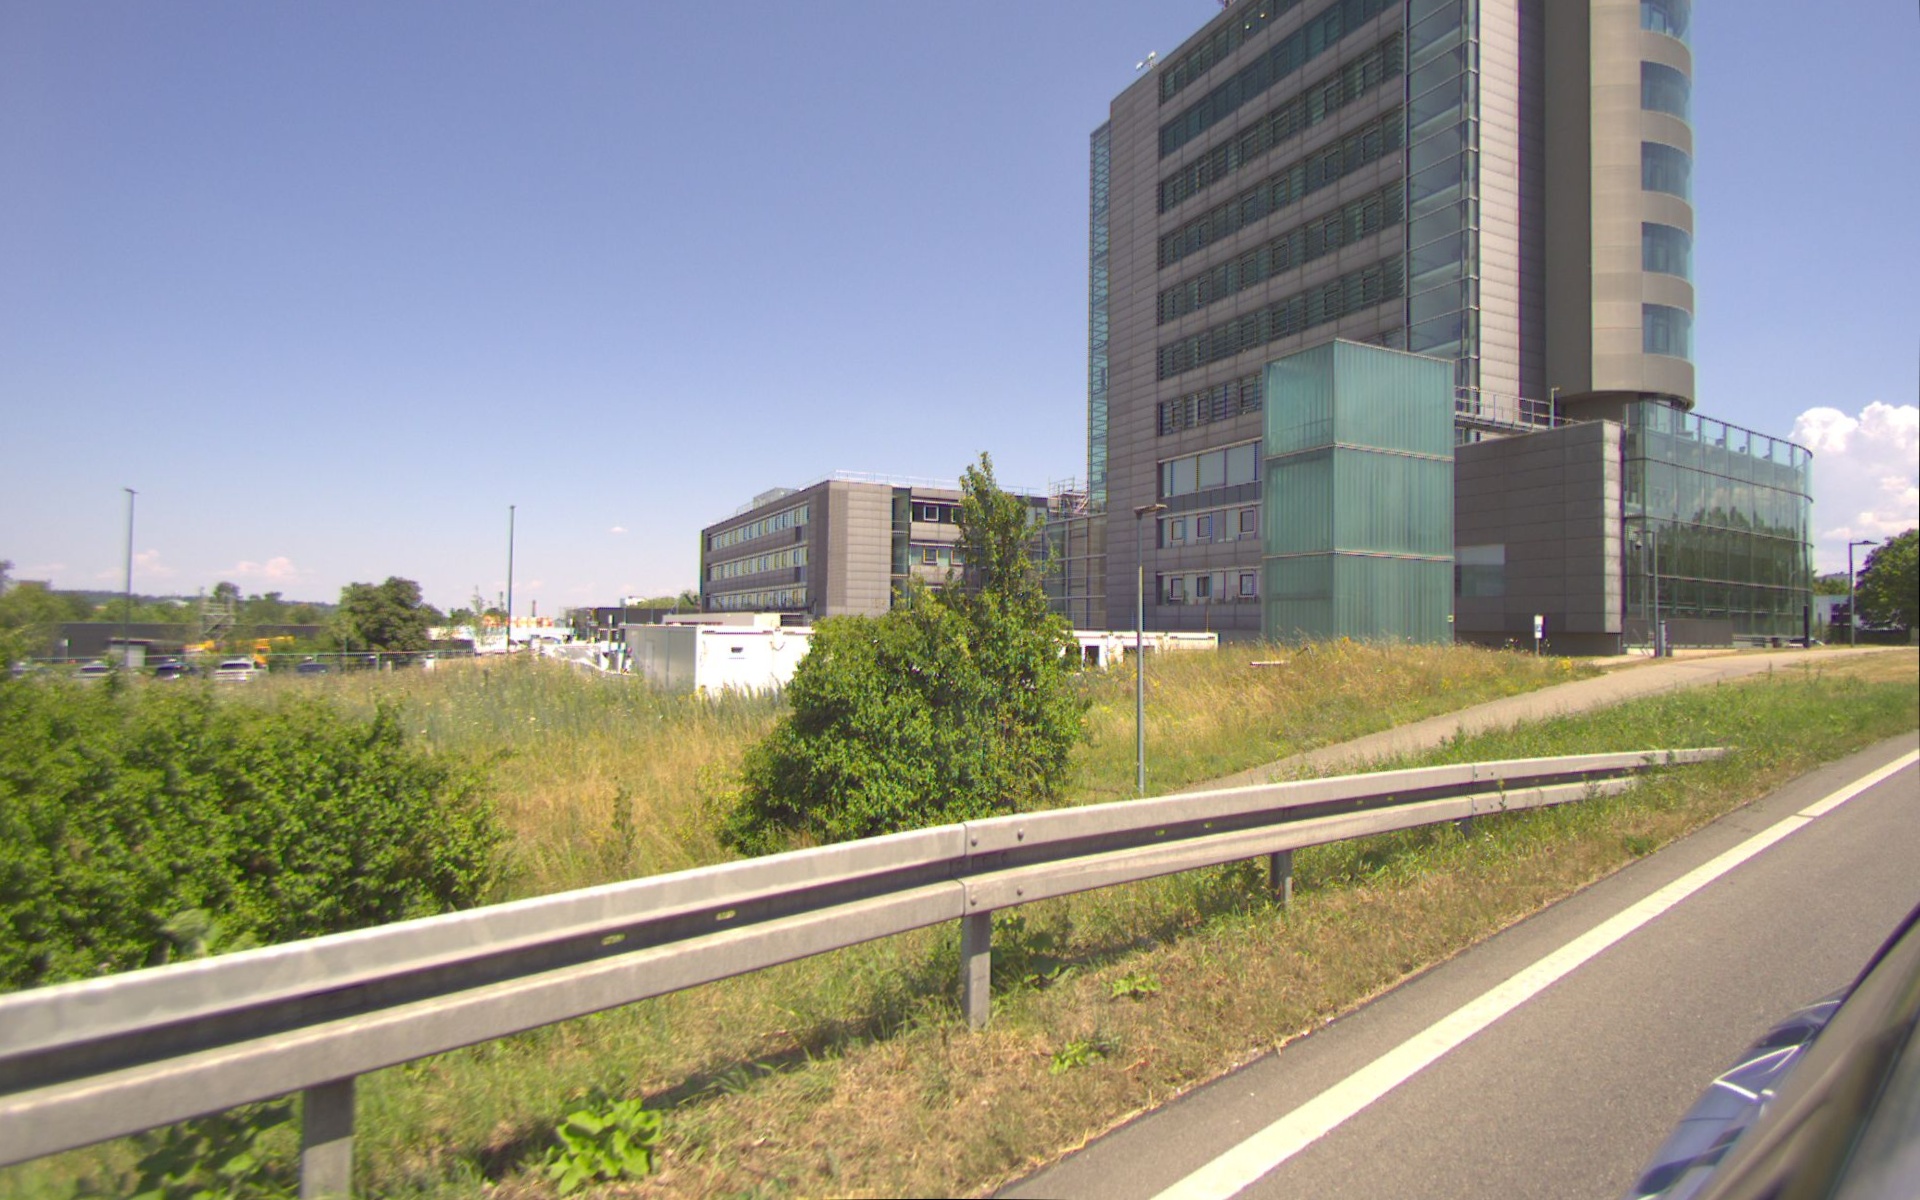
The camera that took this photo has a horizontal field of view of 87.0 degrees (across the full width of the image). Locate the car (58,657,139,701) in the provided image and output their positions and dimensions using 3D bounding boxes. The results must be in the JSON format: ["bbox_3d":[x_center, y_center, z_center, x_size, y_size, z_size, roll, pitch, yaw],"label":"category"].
[{"bbox_3d":[-43.329,3.935,51.021,1.958,2.040,4.006,2,-3,-24],"label":"car"}]

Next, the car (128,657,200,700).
[{"bbox_3d":[-40.970,4.005,52.169,1.958,2.040,4.005,2,-3,-25],"label":"car"}]

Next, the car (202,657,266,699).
[{"bbox_3d":[-38.183,4.080,53.339,1.958,2.040,4.005,2,-3,-25],"label":"car"}]

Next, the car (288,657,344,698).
[{"bbox_3d":[-34.922,4.179,54.991,1.958,2.040,4.005,2,-3,-25],"label":"car"}]

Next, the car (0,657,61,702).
[{"bbox_3d":[-46.069,3.848,49.531,1.958,2.040,4.005,2,-3,-25],"label":"car"}]
